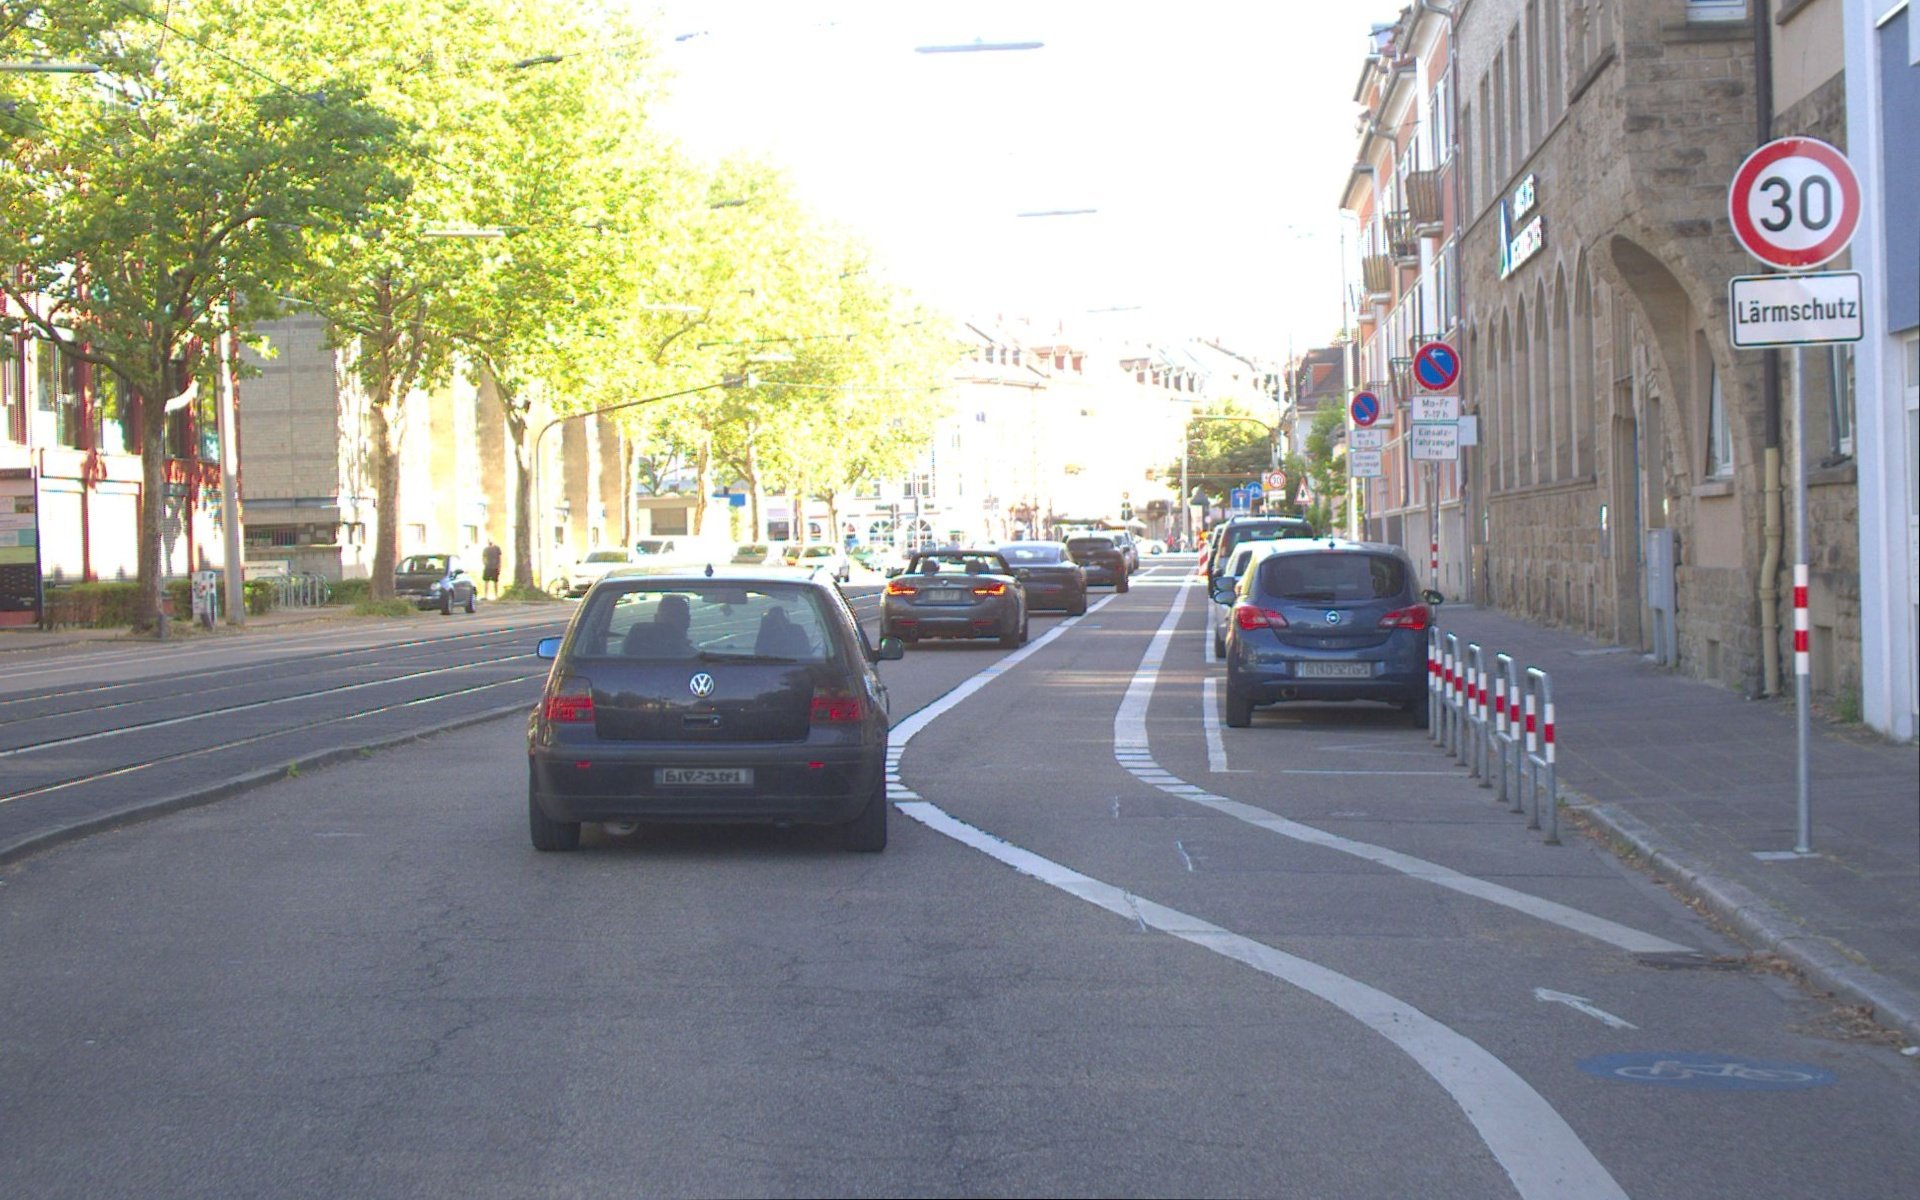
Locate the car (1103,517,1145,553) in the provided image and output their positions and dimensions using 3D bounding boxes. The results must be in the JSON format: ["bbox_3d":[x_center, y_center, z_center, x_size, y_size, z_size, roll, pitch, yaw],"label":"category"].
[{"bbox_3d":[6.894,-2.716,143.918,1.636,1.467,3.729,-1,1,4],"label":"car"}]

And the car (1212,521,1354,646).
[{"bbox_3d":[4.084,-0.249,43.902,1.714,1.495,4.225,1,1,4],"label":"car"}]

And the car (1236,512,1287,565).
[{"bbox_3d":[10.698,-2.207,122.209,1.759,1.831,3.547,1,2,4],"label":"car"}]

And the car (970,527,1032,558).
[{"bbox_3d":[2.712,-3.808,227.852,3.987,2.006,2.000,1,2,4],"label":"car"}]

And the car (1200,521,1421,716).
[{"bbox_3d":[2.814,0.101,28.226,1.655,1.477,4.000,0,1,4],"label":"car"}]

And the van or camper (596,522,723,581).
[{"bbox_3d":[-10.276,-1.704,118.018,2.063,1.943,5.183,1,2,24],"label":"van or camper"}]

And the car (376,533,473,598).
[{"bbox_3d":[-12.972,-0.814,83.439,1.507,1.449,3.462,-1,-1,5],"label":"car"}]

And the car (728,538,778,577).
[{"bbox_3d":[-8.532,-1.748,142.103,1.570,1.528,3.572,-1,0,4],"label":"car"}]

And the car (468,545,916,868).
[{"bbox_3d":[-1.238,0.453,17.523,1.749,1.370,4.000,-1,1,3],"label":"car"}]

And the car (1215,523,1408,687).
[{"bbox_3d":[3.431,-0.003,33.735,1.753,1.495,4.195,1,1,6],"label":"car"}]

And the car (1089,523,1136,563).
[{"bbox_3d":[5.797,-2.169,130.000,1.636,1.467,3.729,-1,1,4],"label":"car"}]

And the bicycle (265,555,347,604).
[{"bbox_3d":[-17.165,-0.539,90.187,2.009,1.274,0.664,0,2,5],"label":"bicycle"}]

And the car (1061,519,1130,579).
[{"bbox_3d":[3.500,-1.324,88.329,1.636,1.467,3.729,-1,1,4],"label":"car"}]

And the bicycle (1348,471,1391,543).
[{"bbox_3d":[6.726,-1.528,56.549,0.515,1.136,2.258,-3,1,4],"label":"bicycle"}]

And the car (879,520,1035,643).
[{"bbox_3d":[0.000,-0.287,46.444,1.749,1.532,3.891,-1,1,5],"label":"car"}]

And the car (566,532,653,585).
[{"bbox_3d":[-10.955,-1.326,107.694,2.012,1.567,4.693,1,2,3],"label":"car"}]

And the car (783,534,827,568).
[{"bbox_3d":[-7.155,-2.259,158.694,1.570,1.528,3.572,-1,0,4],"label":"car"}]

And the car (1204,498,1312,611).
[{"bbox_3d":[5.090,-0.812,59.076,1.753,1.849,4.815,0,1,4],"label":"car"}]

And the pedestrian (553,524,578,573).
[{"bbox_3d":[-14.624,-1.910,127.349,0.797,1.814,0.670,1,2,4],"label":"pedestrian"}]

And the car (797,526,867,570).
[{"bbox_3d":[-4.698,-1.939,126.755,1.753,1.513,4.070,-3,1,9],"label":"car"}]

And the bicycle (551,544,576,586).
[{"bbox_3d":[-11.783,-1.041,102.166,0.581,1.204,1.654,0,2,-2],"label":"bicycle"}]

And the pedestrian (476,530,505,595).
[{"bbox_3d":[-13.533,-1.092,99.011,0.784,1.863,0.671,0,2,-10],"label":"pedestrian"}]

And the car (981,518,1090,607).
[{"bbox_3d":[1.423,-0.721,63.512,1.749,1.532,3.891,-1,1,5],"label":"car"}]
